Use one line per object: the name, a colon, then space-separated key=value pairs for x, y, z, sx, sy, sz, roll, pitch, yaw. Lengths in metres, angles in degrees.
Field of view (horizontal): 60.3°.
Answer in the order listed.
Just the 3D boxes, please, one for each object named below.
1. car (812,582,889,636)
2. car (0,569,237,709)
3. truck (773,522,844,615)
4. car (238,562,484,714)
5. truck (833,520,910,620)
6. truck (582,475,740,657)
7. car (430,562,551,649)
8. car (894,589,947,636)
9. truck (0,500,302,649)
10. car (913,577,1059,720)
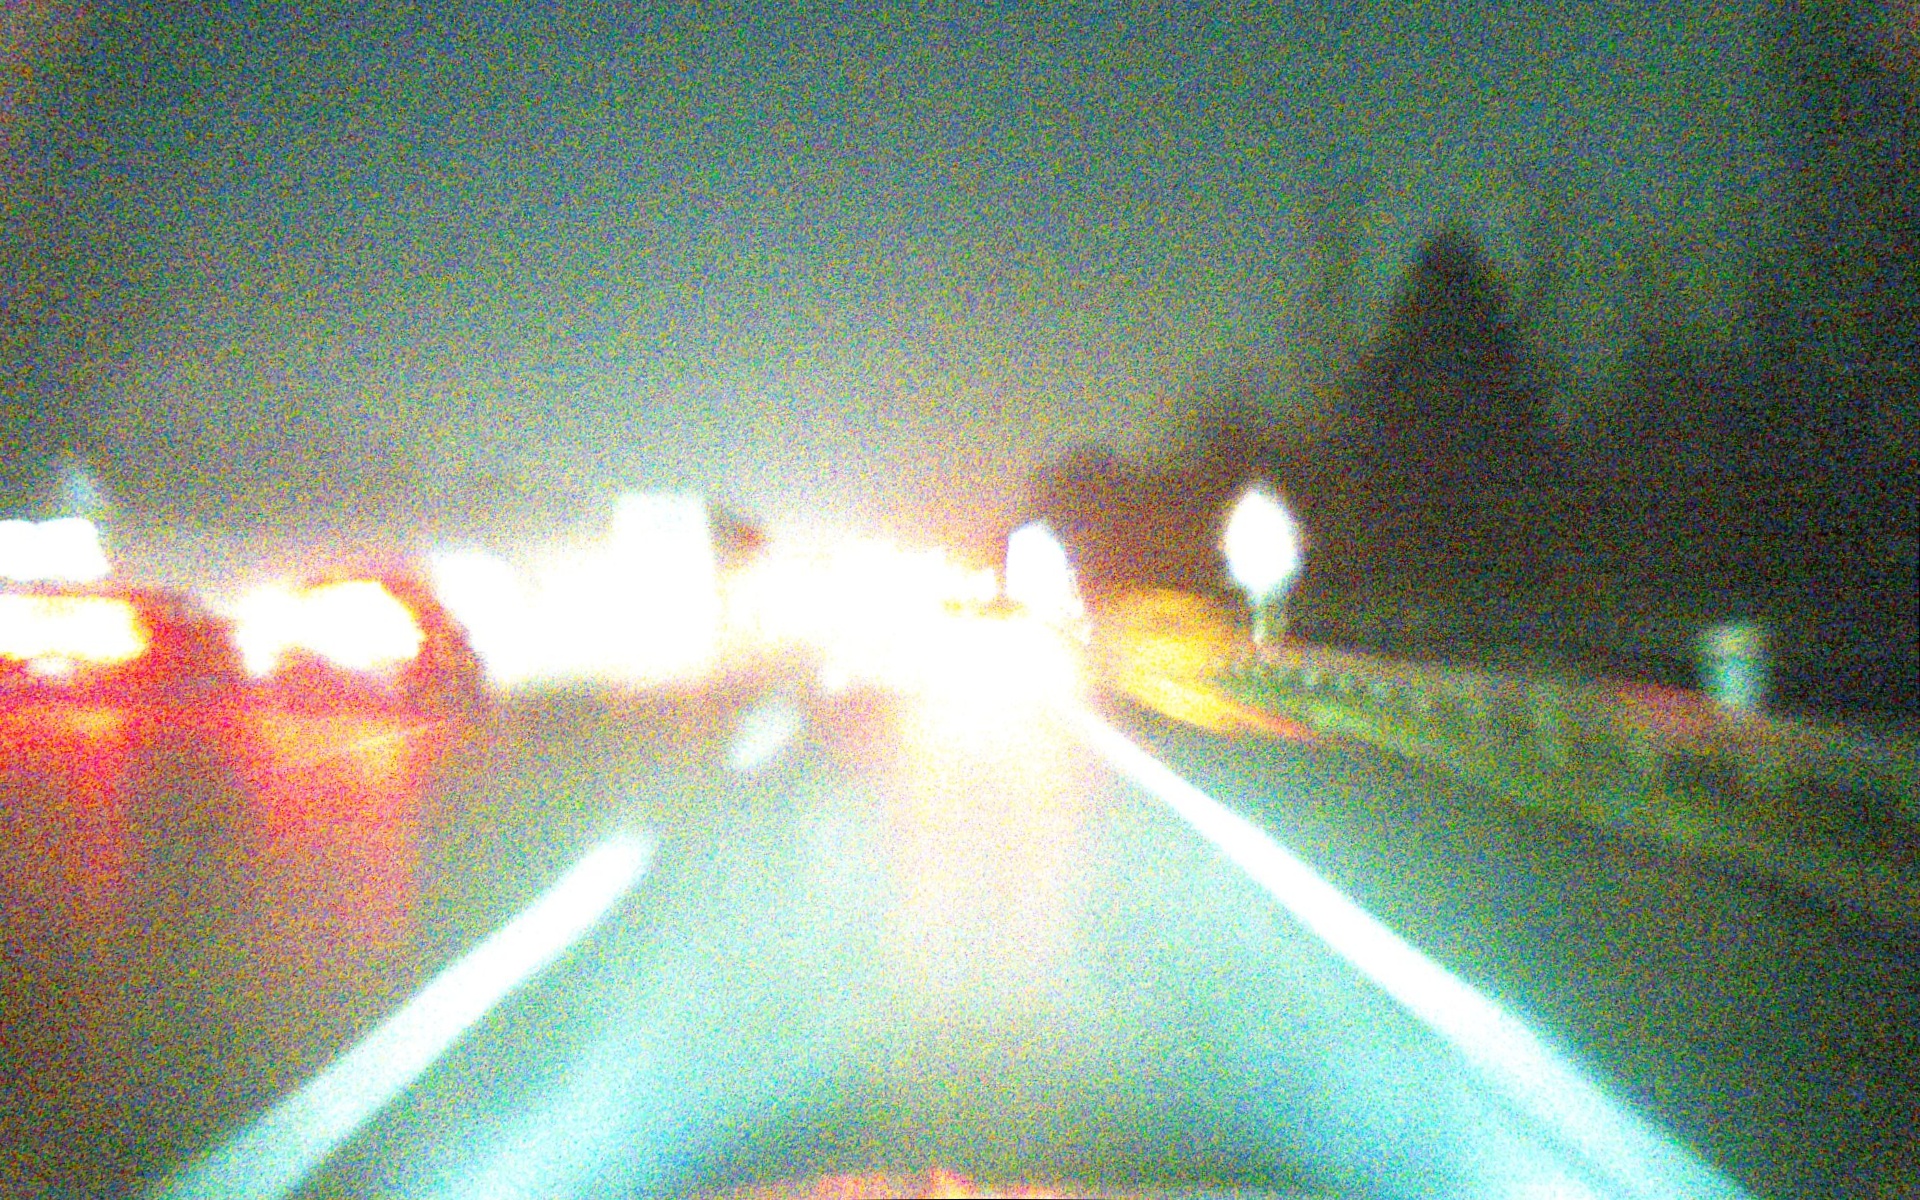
car: x=-4.399 y=0.358 z=67.428 sx=2.775 sy=2.049 sz=5.510 roll=1 pitch=0 yaw=0
car: x=-11.445 y=0.450 z=22.456 sx=1.731 sy=1.718 sz=3.997 roll=1 pitch=1 yaw=-4
truck: x=-9.519 y=-1.906 z=105.455 sx=4.170 sy=5.539 sz=10.875 roll=1 pitch=0 yaw=-4
car: x=-7.829 y=0.459 z=22.109 sx=1.999 sy=1.792 sz=4.510 roll=1 pitch=0 yaw=-6
truck: x=-5.032 y=-1.629 z=93.983 sx=4.079 sy=5.306 sz=9.947 roll=1 pitch=0 yaw=-3
truck: x=-8.694 y=-0.913 z=49.449 sx=3.584 sy=4.820 sz=9.843 roll=1 pitch=0 yaw=-5
car: x=-12.404 y=0.119 z=44.086 sx=2.082 sy=2.141 sz=5.623 roll=1 pitch=0 yaw=-6
car: x=-1.495 y=0.478 z=64.539 sx=1.953 sy=1.733 sz=4.458 roll=1 pitch=0 yaw=0
truck: x=-28.672 y=-0.791 z=59.671 sx=3.141 sy=4.538 sz=17.487 roll=1 pitch=0 yaw=-1
car: x=0.334 y=0.615 z=23.083 sx=1.839 sy=1.793 sz=4.000 roll=1 pitch=0 yaw=0
